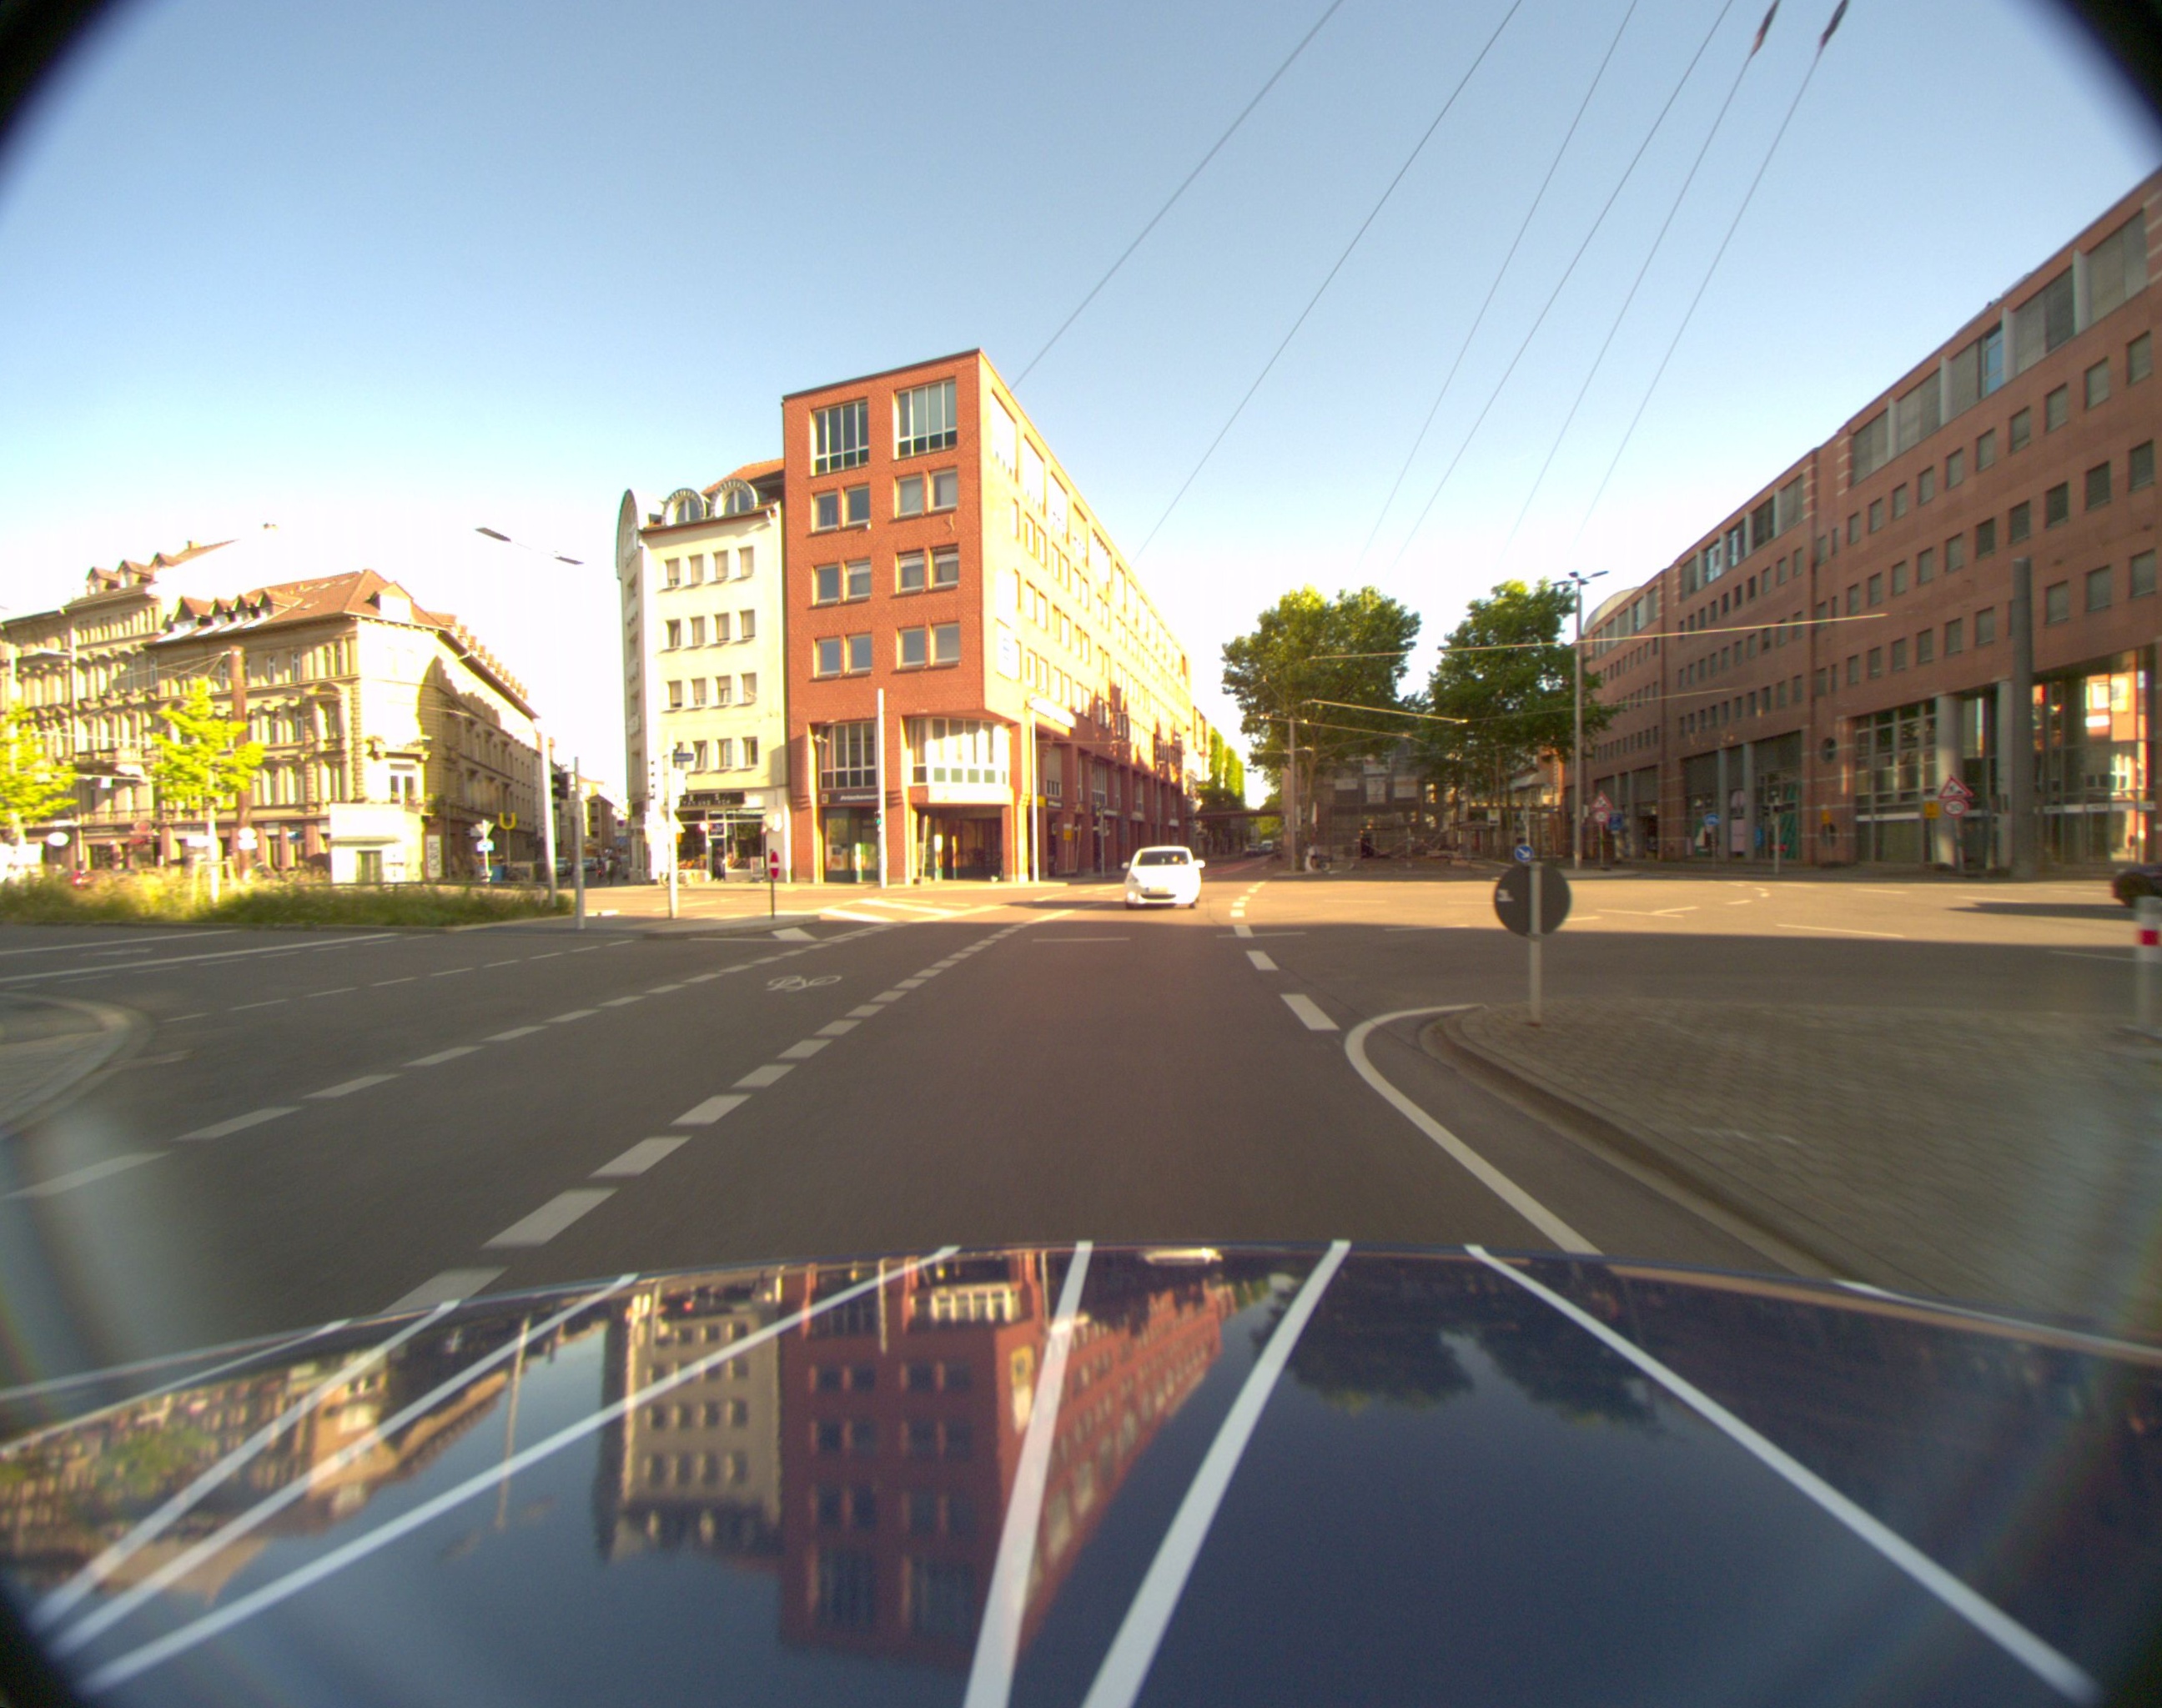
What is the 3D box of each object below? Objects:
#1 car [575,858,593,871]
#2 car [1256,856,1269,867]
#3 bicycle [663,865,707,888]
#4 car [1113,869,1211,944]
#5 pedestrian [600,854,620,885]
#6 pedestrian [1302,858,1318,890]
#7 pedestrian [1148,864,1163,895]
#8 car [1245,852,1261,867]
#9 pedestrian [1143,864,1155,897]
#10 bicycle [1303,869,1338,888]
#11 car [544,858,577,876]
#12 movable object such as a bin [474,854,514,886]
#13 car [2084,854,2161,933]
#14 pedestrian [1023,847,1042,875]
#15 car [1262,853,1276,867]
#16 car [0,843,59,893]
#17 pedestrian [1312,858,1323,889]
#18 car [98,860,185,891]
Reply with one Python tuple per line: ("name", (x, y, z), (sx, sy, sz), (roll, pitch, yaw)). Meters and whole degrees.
("car", (-54.159, 1.150, 82.828), (1.425, 1.253, 2.951), (-2, 0, -31))
("car", (29.857, 1.221, 124.926), (1.789, 1.660, 4.445), (-1, 1, 17))
("bicycle", (-17.504, 0.996, 33.591), (1.862, 0.985, 0.460), (-1, 3, 17))
("car", (2.120, 1.214, 18.831), (1.806, 1.492, 4.204), (-1, 1, 14))
("pedestrian", (-24.900, 0.805, 40.136), (0.694, 1.628, 0.959), (-3, 3, -42))
("pedestrian", (12.477, 1.069, 41.455), (0.778, 1.724, 0.849), (-1, 1, 14))
("pedestrian", (4.251, 1.468, 43.431), (0.634, 1.715, 0.631), (-1, 1, 27))
("car", (25.763, 0.746, 113.652), (1.921, 2.067, 5.176), (-1, 1, 17))
("pedestrian", (3.769, 1.451, 42.111), (0.476, 1.782, 0.541), (-1, 1, 17))
("bicycle", (13.370, 1.365, 42.409), (1.831, 1.072, 0.481), (-1, 1, 18))
("car", (-44.908, 1.108, 65.663), (1.730, 1.513, 3.992), (-1, 0, -25))
("movable object such as a bin", (-34.998, 0.960, 45.328), (1.652, 1.773, 1.398), (-4, 1, -31))
("car", (20.241, 0.745, 12.626), (1.835, 1.378, 4.600), (-1, 1, 14))
("pedestrian", (-2.779, 0.383, 43.268), (0.847, 1.580, 0.753), (-2, 1, -22))
("car", (34.783, 1.095, 140.669), (2.117, 2.550, 5.912), (-1, 1, 17))
("car", (-68.560, 0.867, 48.007), (5.358, 3.005, 2.280), (-1, 2, 8))
("pedestrian", (13.086, 1.066, 42.022), (0.567, 1.670, 0.531), (-1, 1, 19))
("car", (-52.608, 1.178, 42.560), (3.920, 1.602, 1.730), (0, 2, 18))
